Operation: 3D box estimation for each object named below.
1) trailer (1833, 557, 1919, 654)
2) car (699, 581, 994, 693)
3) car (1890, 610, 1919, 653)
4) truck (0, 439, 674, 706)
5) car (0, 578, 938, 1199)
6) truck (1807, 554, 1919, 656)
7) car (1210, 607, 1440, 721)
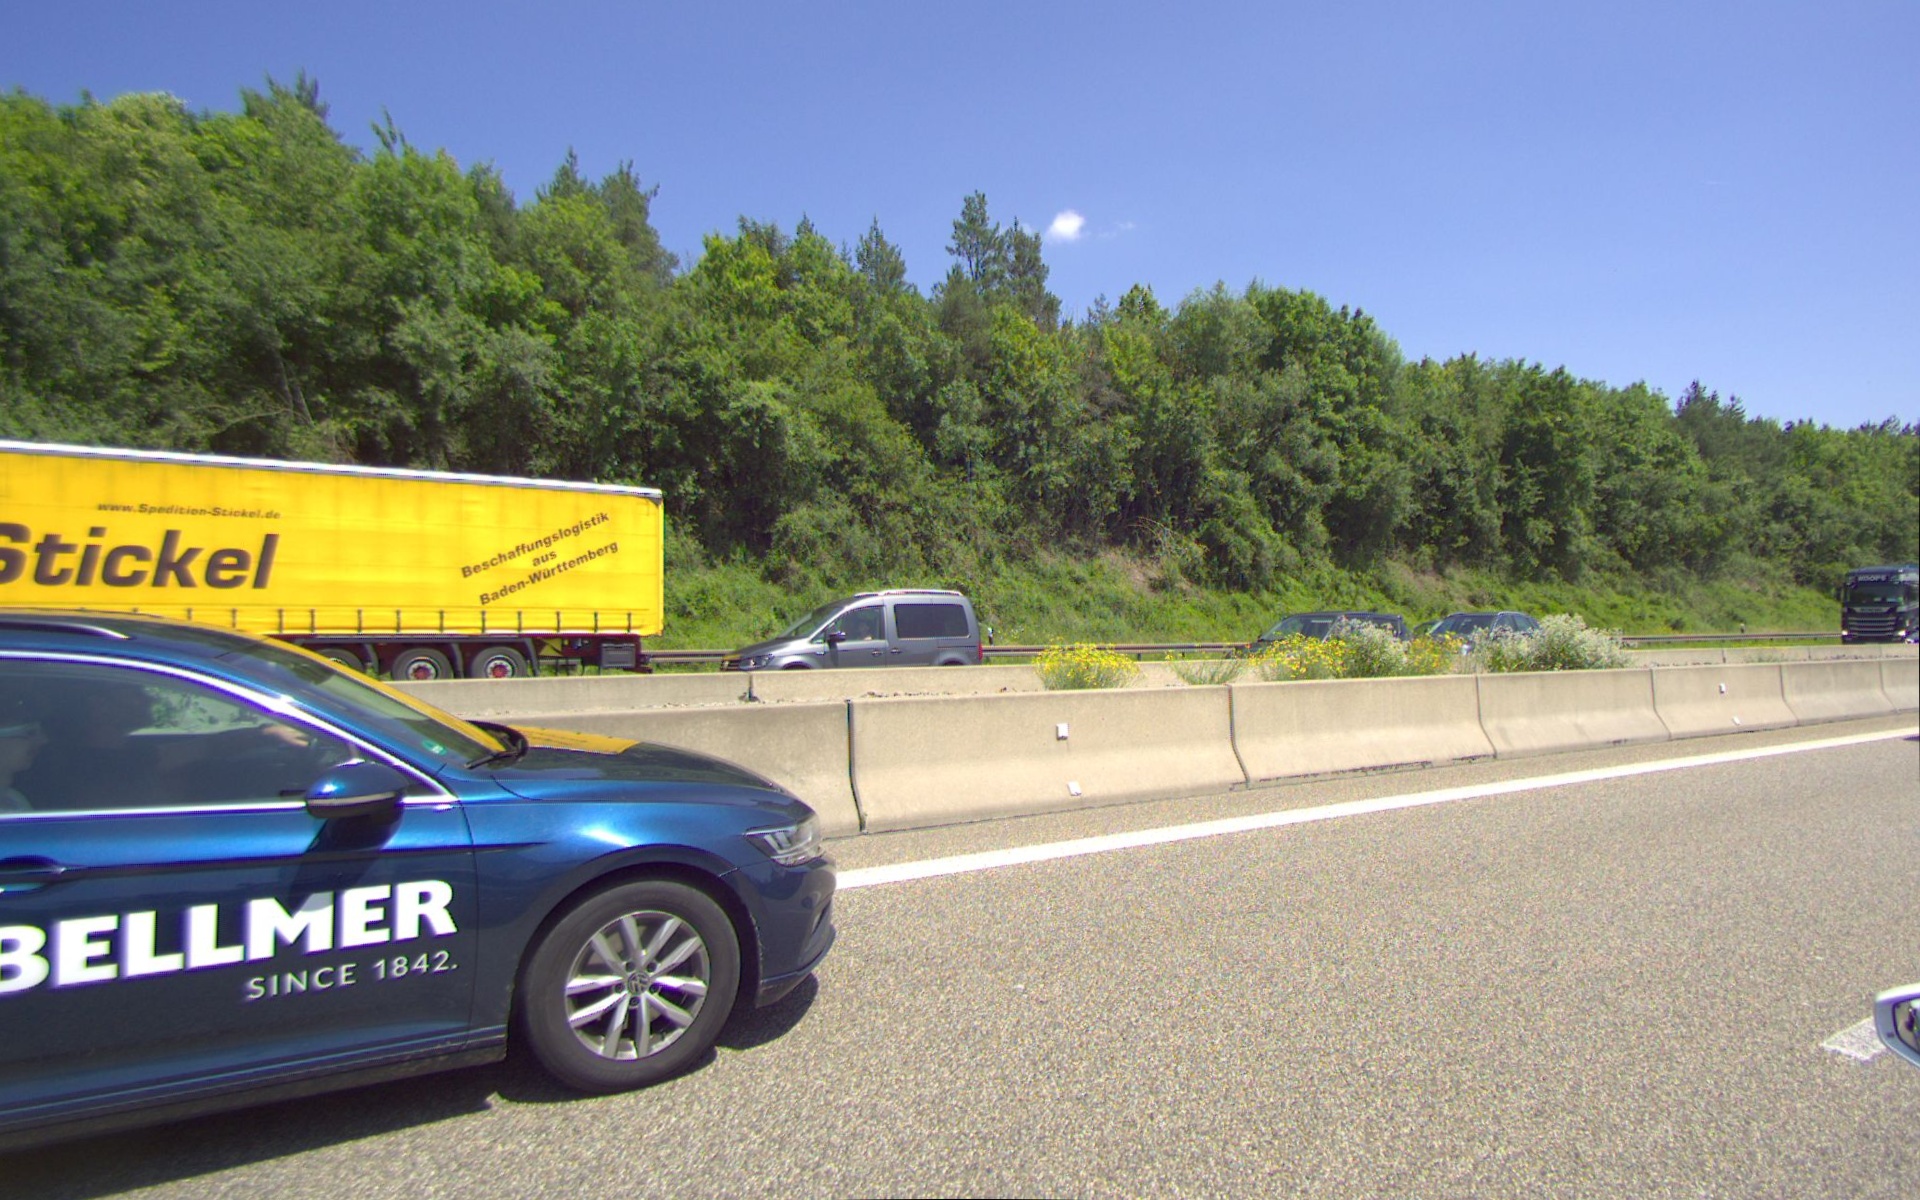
[{"bbox_3d":[50.187,0.504,51.841,13.176,4.587,3.707,2,-3,-31],"label":"trailer"},{"bbox_3d":[-1.740,0.614,15.942,4.370,1.578,1.678,2,-3,-30],"label":"car"},{"bbox_3d":[38.841,1.267,39.834,4.462,1.628,1.679,2,-3,-31],"label":"car"},{"bbox_3d":[-13.496,-0.324,17.595,16.080,4.035,3.022,2,-2,-31],"label":"truck"},{"bbox_3d":[-2.512,0.709,3.027,4.674,1.446,1.724,1,-3,-30],"label":"car"},{"bbox_3d":[44.841,0.416,48.631,7.243,4.587,3.706,2,-3,-31],"label":"truck"},{"bbox_3d":[5.908,1.015,16.219,3.502,1.648,1.635,2,-3,-30],"label":"car"}]
